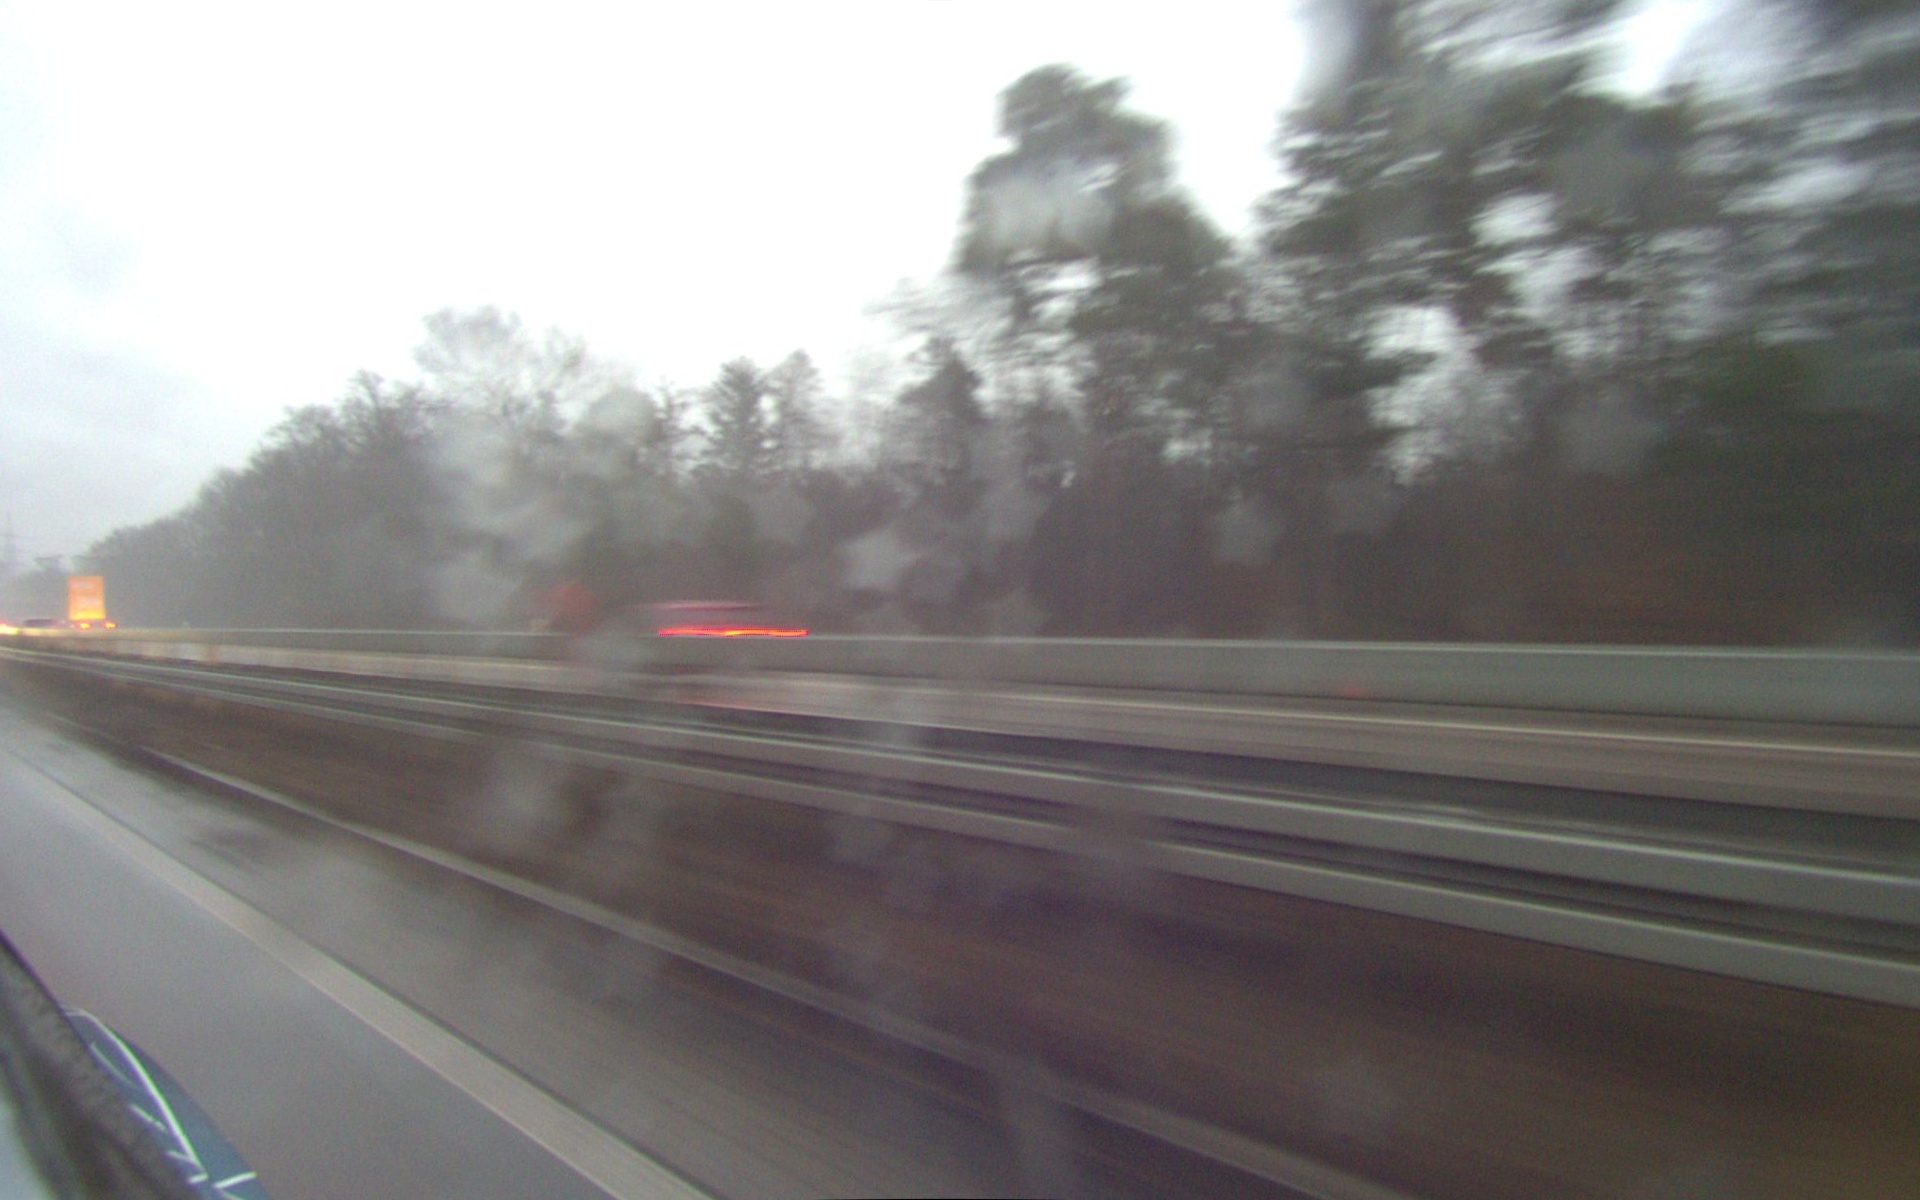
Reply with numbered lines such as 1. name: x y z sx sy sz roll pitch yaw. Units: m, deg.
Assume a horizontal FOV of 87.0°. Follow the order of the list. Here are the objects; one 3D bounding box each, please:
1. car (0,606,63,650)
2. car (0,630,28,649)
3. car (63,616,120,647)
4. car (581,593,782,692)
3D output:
1. car: -46.154 1.371 50.182 4.637 2.029 1.913 -1 -1 41
2. car: -102.617 4.213 109.722 4.711 1.965 1.972 -1 -1 43
3. car: -53.672 1.921 62.525 4.270 1.585 1.974 1 4 40
4. car: -5.412 0.769 19.451 3.997 1.704 1.794 -1 -1 41
